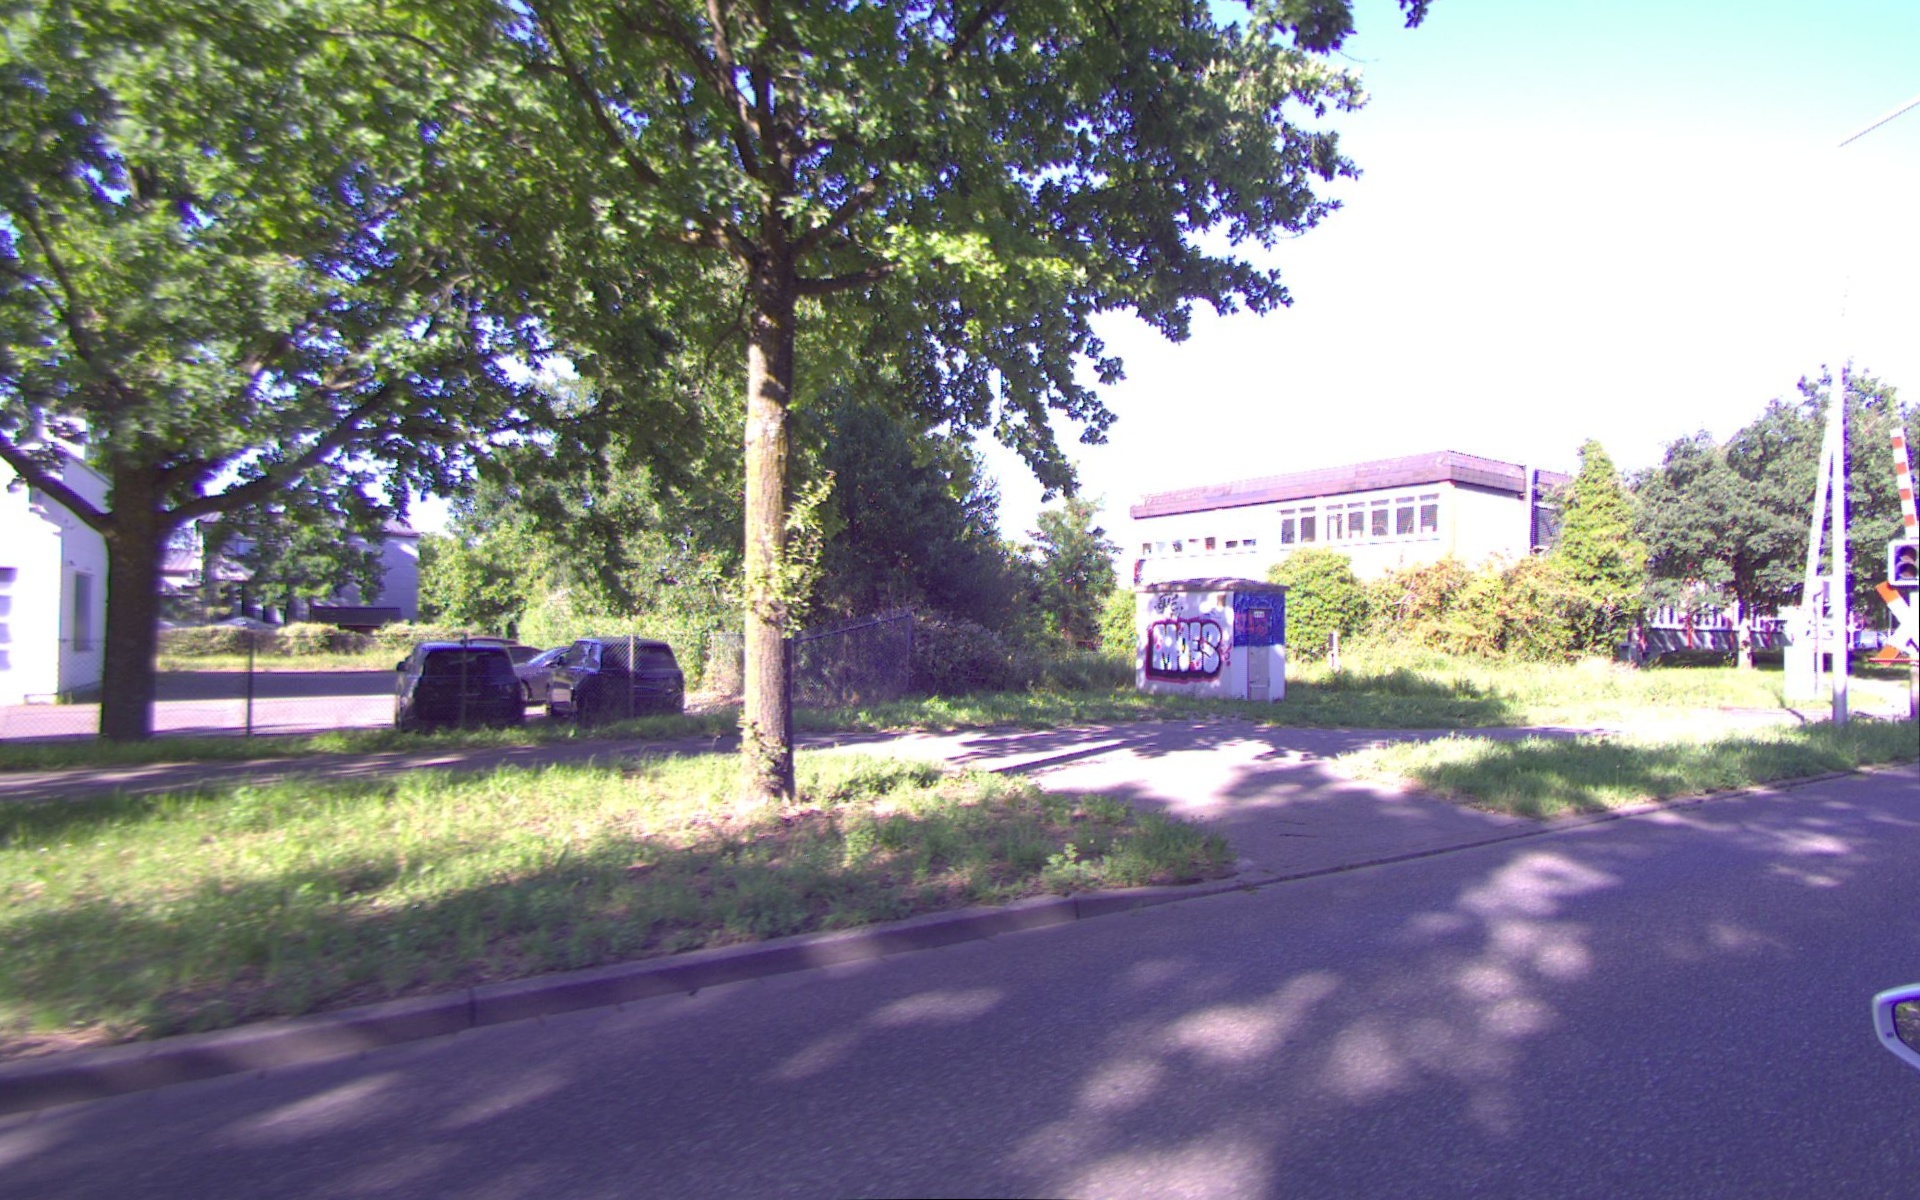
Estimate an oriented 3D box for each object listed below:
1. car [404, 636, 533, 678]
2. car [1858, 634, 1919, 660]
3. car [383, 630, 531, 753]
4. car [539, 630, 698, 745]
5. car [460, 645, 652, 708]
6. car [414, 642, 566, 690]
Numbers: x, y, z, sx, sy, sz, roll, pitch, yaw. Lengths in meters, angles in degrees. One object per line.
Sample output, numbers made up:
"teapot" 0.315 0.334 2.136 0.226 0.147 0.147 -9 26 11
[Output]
"car" -20.878 2.401 42.738 4.826 1.587 1.985 2 0 -29
"car" 67.482 3.402 72.588 1.974 1.664 3.347 2 0 -26
"car" -9.382 1.563 18.571 1.979 1.825 4.165 2 0 -33
"car" -6.796 1.595 19.712 1.979 1.825 4.165 2 0 -33
"car" -11.632 2.143 29.088 4.836 1.587 1.980 2 0 -35
"car" -17.406 2.408 37.267 4.836 1.587 1.980 2 0 -35
